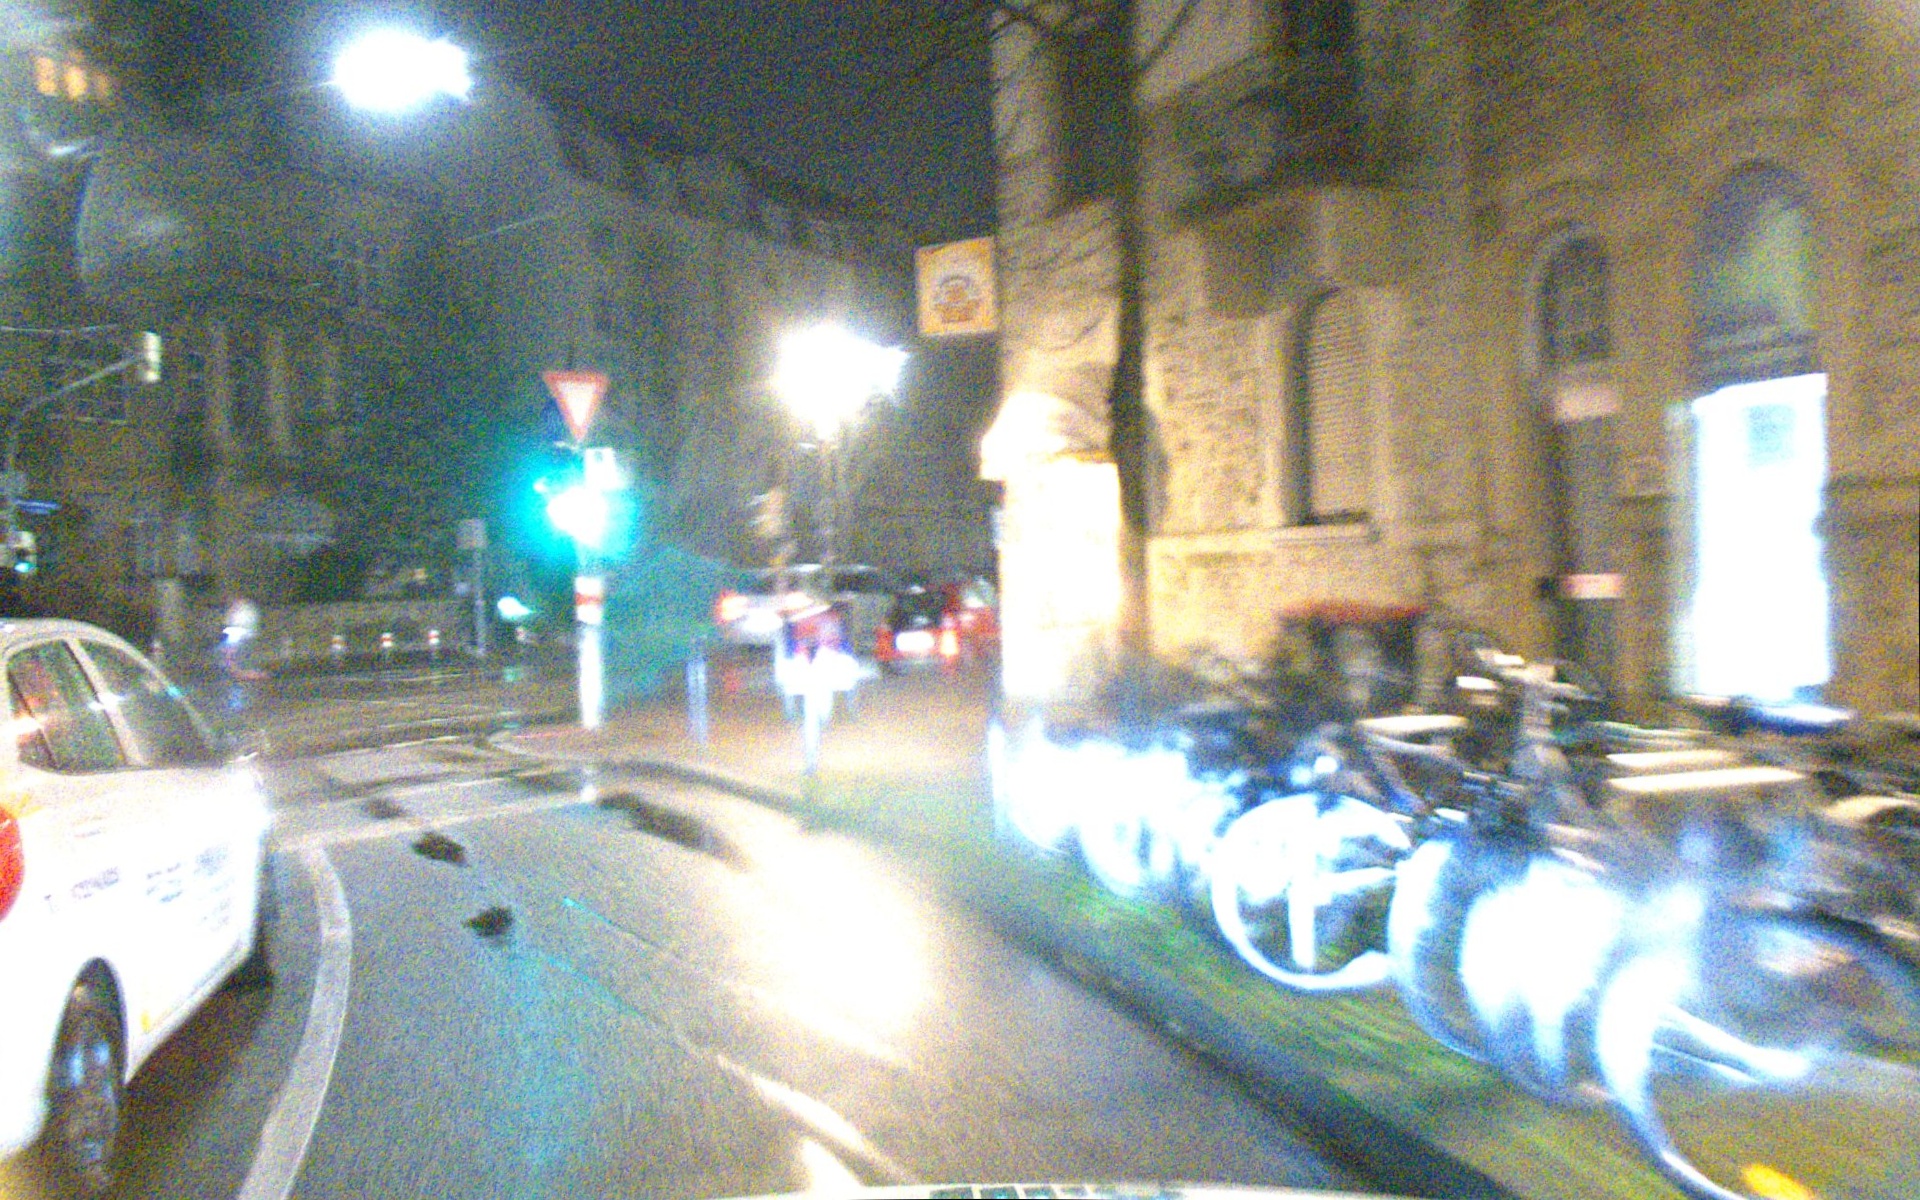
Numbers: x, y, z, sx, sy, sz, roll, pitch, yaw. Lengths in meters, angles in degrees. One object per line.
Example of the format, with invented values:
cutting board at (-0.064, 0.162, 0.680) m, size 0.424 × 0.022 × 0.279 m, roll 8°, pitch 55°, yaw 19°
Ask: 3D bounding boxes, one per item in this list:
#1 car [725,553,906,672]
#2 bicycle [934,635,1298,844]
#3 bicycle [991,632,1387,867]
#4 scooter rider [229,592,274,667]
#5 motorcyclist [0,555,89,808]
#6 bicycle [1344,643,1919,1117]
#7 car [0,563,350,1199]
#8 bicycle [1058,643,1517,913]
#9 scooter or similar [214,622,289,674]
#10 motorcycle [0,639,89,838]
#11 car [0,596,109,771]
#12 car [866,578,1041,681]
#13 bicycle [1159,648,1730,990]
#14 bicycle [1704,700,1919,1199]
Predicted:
car at (-3.151, 0.219, 37.492) m, size 2.170 × 2.484 × 5.387 m, roll 0°, pitch 1°, yaw 17°
bicycle at (0.882, 0.753, 9.390) m, size 1.937 × 1.024 × 0.639 m, roll -2°, pitch 0°, yaw -17°
bicycle at (1.190, 0.736, 8.618) m, size 1.937 × 1.053 × 0.639 m, roll -2°, pitch 0°, yaw -17°
scooter rider at (-15.371, 0.625, 35.893) m, size 0.630 × 1.600 × 0.650 m, roll 1°, pitch 1°, yaw 37°
motorcyclist at (-6.597, 0.556, 11.674) m, size 0.781 × 1.724 × 0.812 m, roll 0°, pitch -1°, yaw -29°
bicycle at (2.127, 0.710, 4.695) m, size 1.937 × 1.083 × 0.639 m, roll -2°, pitch 0°, yaw -17°
car at (-3.148, 0.720, 5.040) m, size 1.886 × 1.542 × 3.586 m, roll -2°, pitch 1°, yaw -13°
bicycle at (1.470, 0.753, 7.437) m, size 1.937 × 1.024 × 0.639 m, roll -2°, pitch 0°, yaw -17°
scooter or similar at (-15.372, 1.031, 35.905) m, size 0.629 × 1.070 × 1.363 m, roll 1°, pitch 1°, yaw 37°
motorcycle at (-6.594, 0.914, 11.646) m, size 0.781 × 1.234 × 2.228 m, roll 0°, pitch 0°, yaw -29°
car at (-10.632, 0.854, 18.421) m, size 1.732 × 1.770 × 3.756 m, roll 0°, pitch 0°, yaw -32°
car at (-0.050, 0.477, 29.183) m, size 1.615 × 1.551 × 3.578 m, roll -6°, pitch -1°, yaw 25°
bicycle at (1.755, 0.734, 6.004) m, size 1.937 × 1.024 × 0.639 m, roll -2°, pitch 0°, yaw -17°
bicycle at (2.621, 0.725, 3.330) m, size 1.926 × 1.024 × 0.643 m, roll -2°, pitch 0°, yaw 12°
